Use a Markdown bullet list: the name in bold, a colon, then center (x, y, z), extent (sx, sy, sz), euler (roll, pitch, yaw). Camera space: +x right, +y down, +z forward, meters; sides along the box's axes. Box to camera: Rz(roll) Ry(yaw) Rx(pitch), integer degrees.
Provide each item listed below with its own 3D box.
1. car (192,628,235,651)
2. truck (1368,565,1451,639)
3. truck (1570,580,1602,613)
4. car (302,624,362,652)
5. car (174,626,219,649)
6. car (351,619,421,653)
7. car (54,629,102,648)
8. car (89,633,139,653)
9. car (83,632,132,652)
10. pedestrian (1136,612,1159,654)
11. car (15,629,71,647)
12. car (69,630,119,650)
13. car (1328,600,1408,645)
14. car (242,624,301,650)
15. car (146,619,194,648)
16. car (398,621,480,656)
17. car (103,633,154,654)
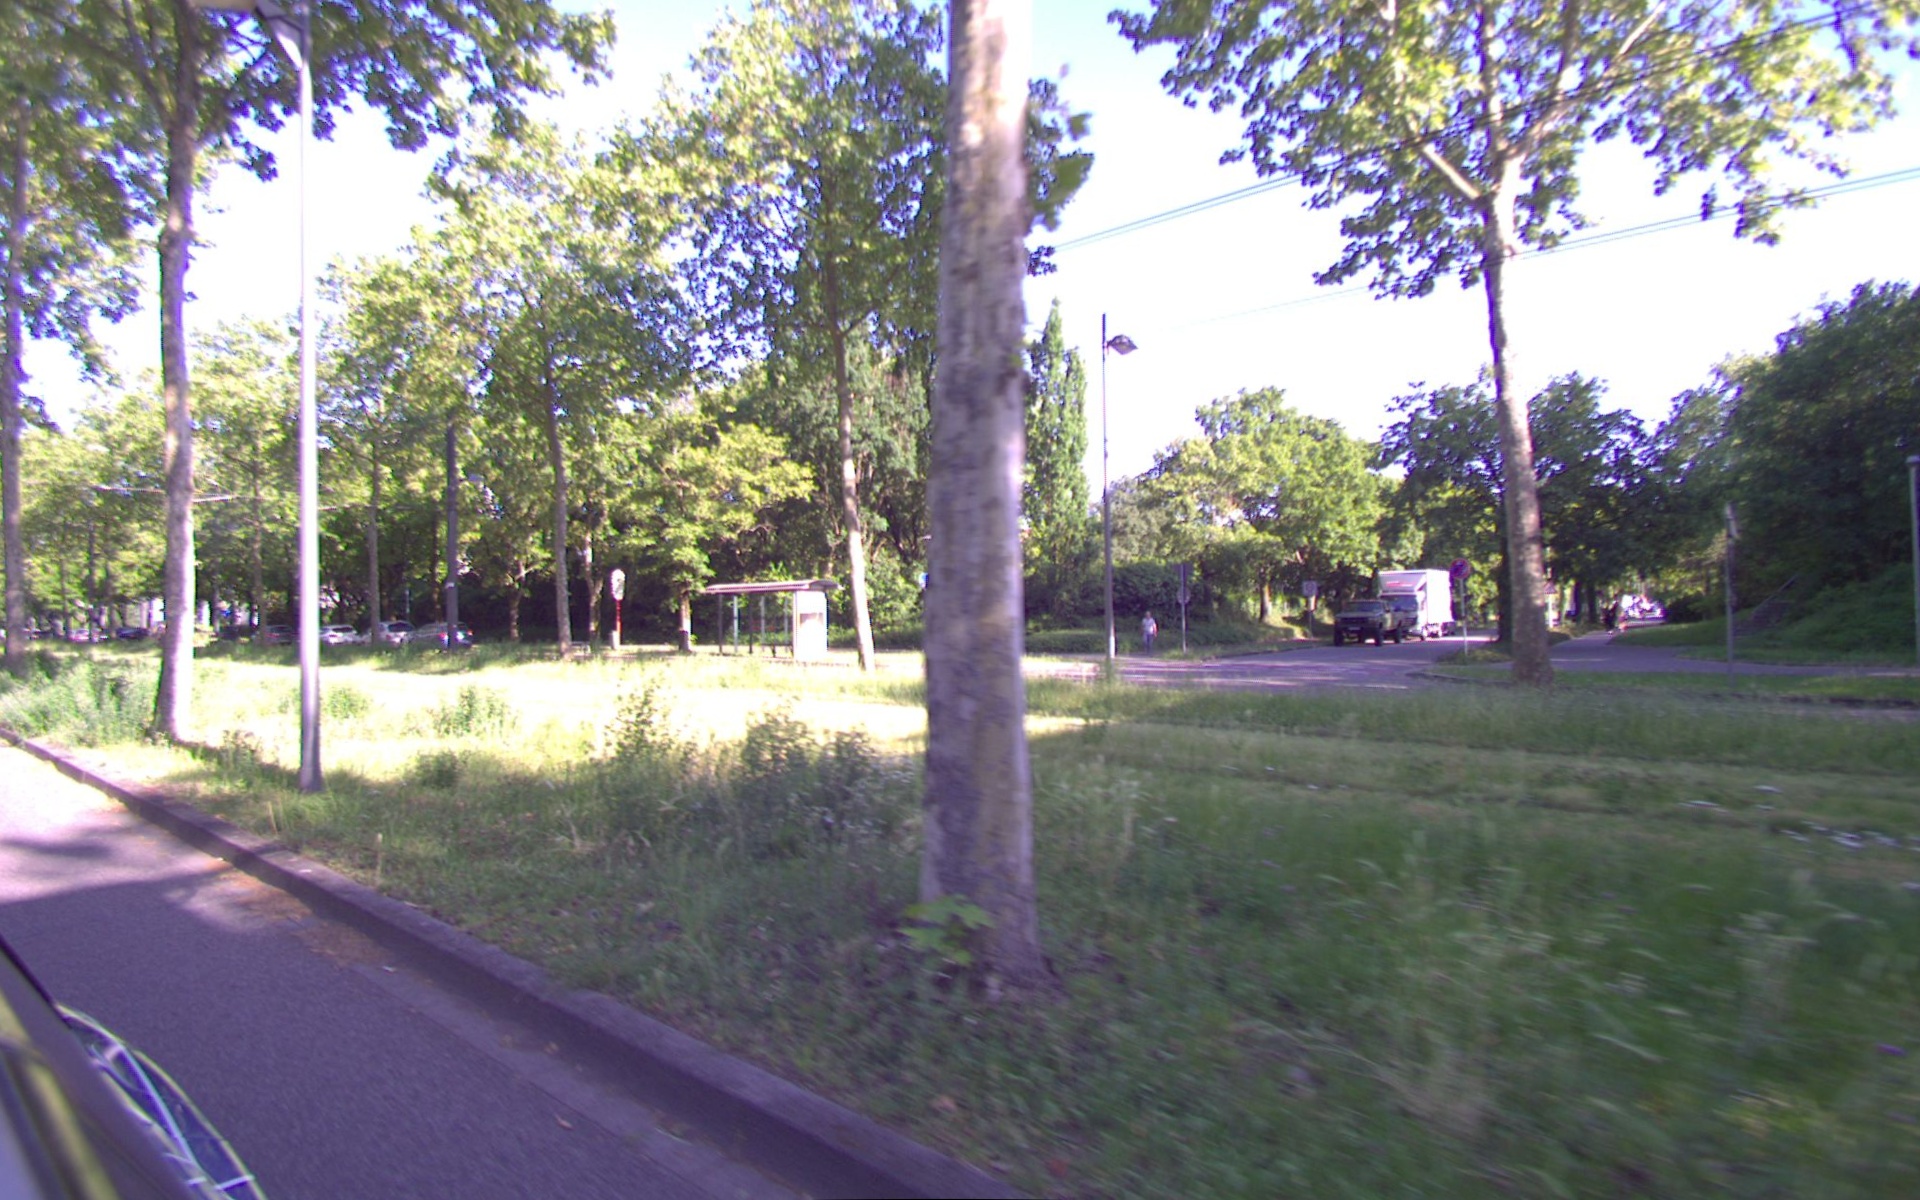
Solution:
- **car**: center (-52.571, 2.779, 71.263), extent (3.566, 1.499, 1.526), euler (-2, 2, 39)
- **truck**: center (24.812, 0.127, 55.602), extent (2.740, 3.779, 8.418), euler (-1, -1, 34)
- **truck**: center (63.832, -0.361, 103.157), extent (2.518, 3.218, 6.465), euler (-1, 1, 34)
- **car**: center (-36.232, 2.193, 58.317), extent (4.020, 1.429, 1.702), euler (-1, 3, 40)
- **car**: center (-56.439, 2.773, 74.763), extent (3.814, 1.507, 1.733), euler (-1, 3, 40)
- **car**: center (-30.556, 1.864, 53.845), extent (4.186, 1.608, 1.798), euler (-1, 3, 40)
- **car**: center (-89.917, 3.876, 103.269), extent (1.868, 1.722, 4.513), euler (-1, 0, -15)
- **car**: center (-75.378, 3.795, 90.220), extent (1.857, 1.579, 4.011), euler (-1, 0, -15)
- **car**: center (-78.212, 3.838, 92.877), extent (1.857, 1.579, 4.011), euler (-1, 0, -15)
- **pedestrian**: center (6.931, 1.204, 37.410), extent (0.526, 1.502, 0.588), euler (-1, 0, -35)
- **car**: center (-102.430, 4.224, 113.056), extent (1.878, 1.722, 4.490), euler (-1, 0, 7)
- **car**: center (-84.419, 3.856, 98.693), extent (1.868, 1.722, 4.513), euler (-1, 0, -15)
- **car**: center (19.070, 0.987, 47.100), extent (2.220, 1.963, 6.081), euler (-1, -1, 34)
- **car**: center (-44.245, 2.379, 65.011), extent (4.173, 1.499, 1.821), euler (-2, 3, 38)
- **car**: center (-61.817, 2.595, 79.183), extent (4.273, 2.072, 1.963), euler (-1, 3, 39)
- **car**: center (-25.620, 1.834, 49.737), extent (4.623, 1.499, 1.879), euler (-1, 3, 40)
- **car**: center (-72.562, 3.745, 88.379), extent (1.857, 1.579, 4.011), euler (-1, 0, -15)
